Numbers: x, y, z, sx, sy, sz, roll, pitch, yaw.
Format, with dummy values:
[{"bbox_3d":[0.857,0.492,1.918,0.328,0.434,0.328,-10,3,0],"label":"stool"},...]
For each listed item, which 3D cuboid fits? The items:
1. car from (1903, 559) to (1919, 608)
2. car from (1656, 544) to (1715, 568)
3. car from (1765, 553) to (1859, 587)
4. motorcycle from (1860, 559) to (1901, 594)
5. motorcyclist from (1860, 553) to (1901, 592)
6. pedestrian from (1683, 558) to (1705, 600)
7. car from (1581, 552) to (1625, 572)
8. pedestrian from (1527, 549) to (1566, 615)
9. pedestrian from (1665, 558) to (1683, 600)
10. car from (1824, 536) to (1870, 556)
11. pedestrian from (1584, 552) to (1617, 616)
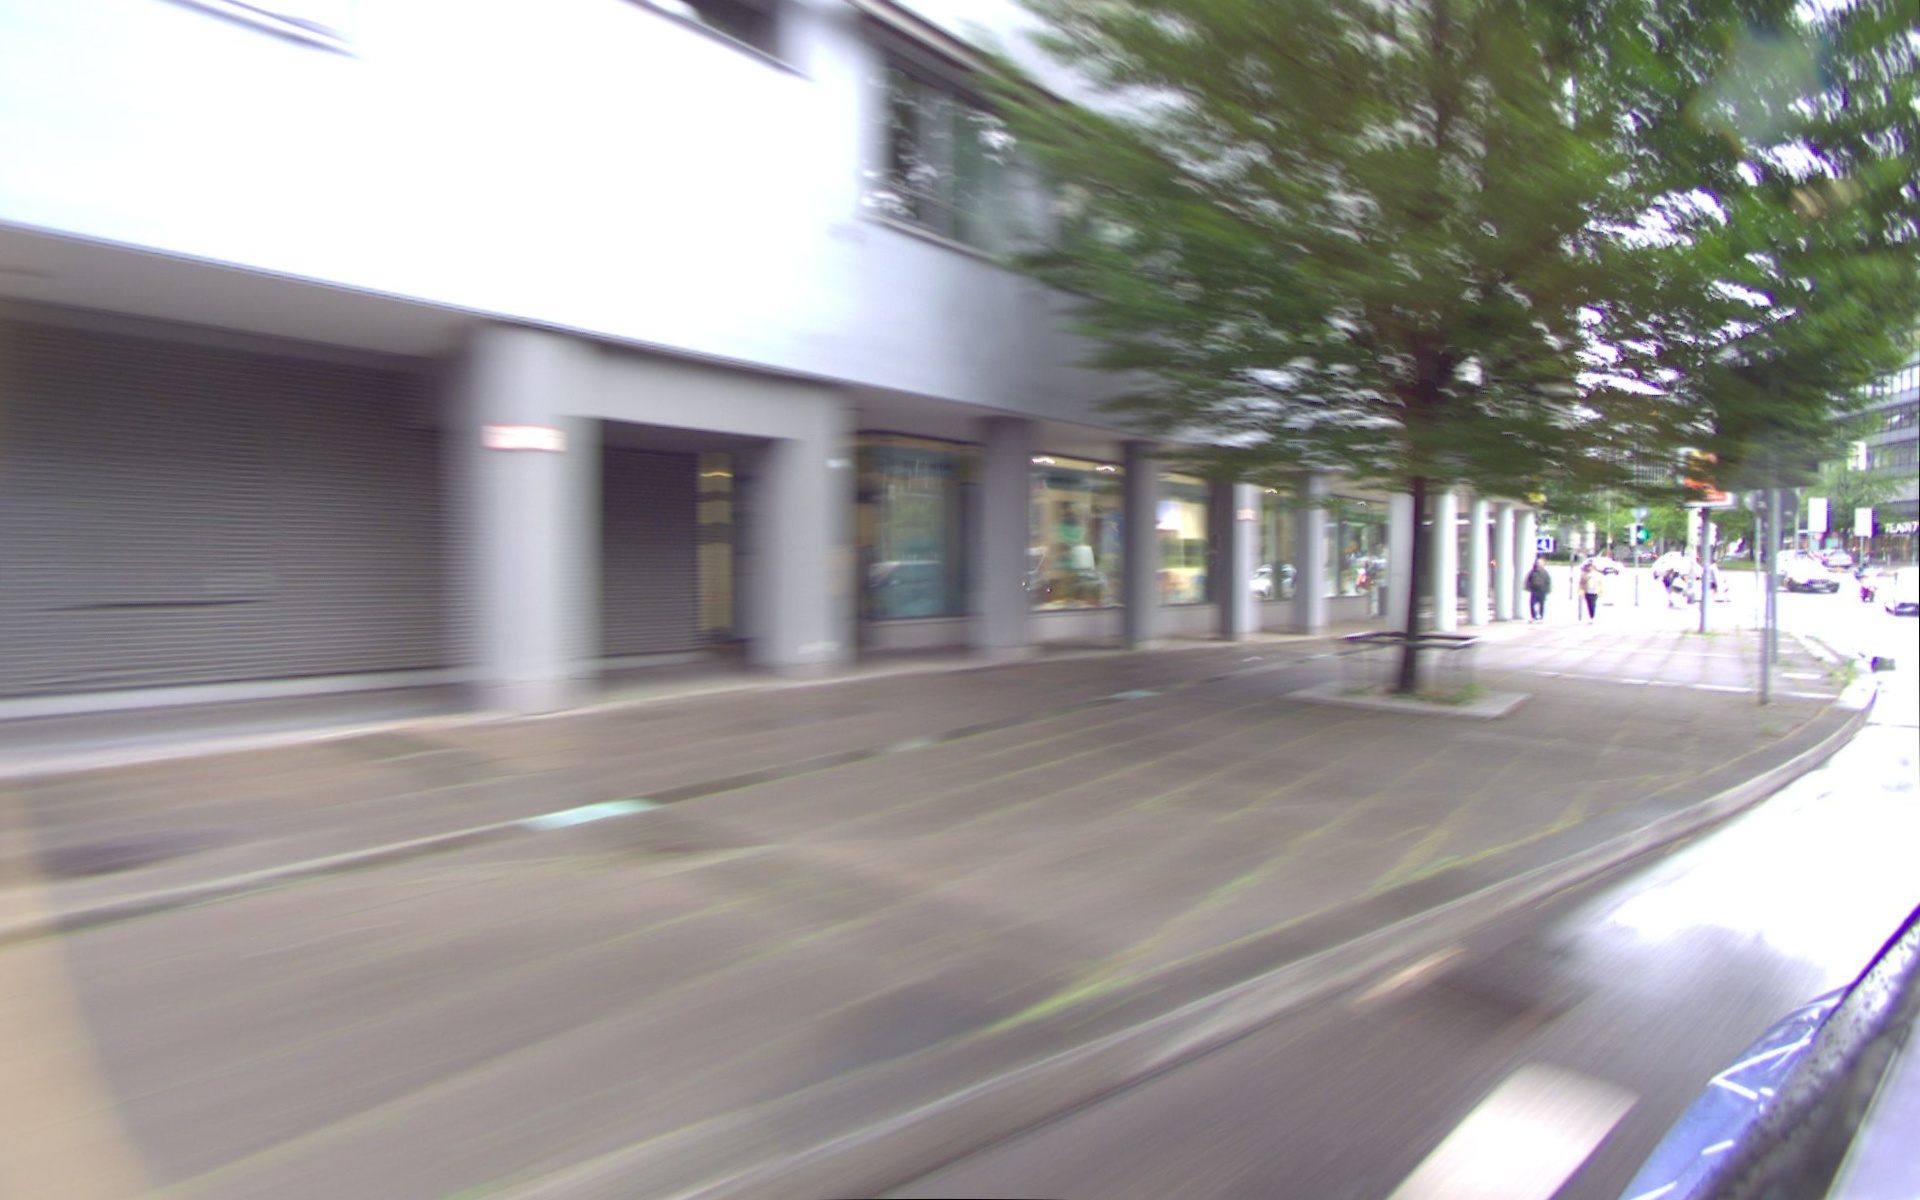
[{"bbox_3d":[32.200,-0.585,33.311,1.685,1.504,3.939,-1,2,43],"label":"car"},{"bbox_3d":[48.169,-2.901,67.271,1.866,1.504,3.983,-2,2,15],"label":"car"},{"bbox_3d":[41.204,-1.471,49.057,1.865,1.504,3.985,-2,2,14],"label":"car"},{"bbox_3d":[36.701,-0.967,40.378,1.126,1.282,3.325,-1,2,41],"label":"motorcycle"},{"bbox_3d":[36.767,-1.099,40.435,1.148,1.529,1.180,-1,2,41],"label":"motorcyclist"},{"bbox_3d":[28.715,-0.815,39.607,0.650,1.617,1.045,-1,2,38],"label":"pedestrian"},{"bbox_3d":[51.517,-3.056,81.177,1.866,1.504,3.983,-2,2,15],"label":"car"},{"bbox_3d":[16.195,-0.490,27.942,0.790,1.805,0.881,-1,0,41],"label":"pedestrian"},{"bbox_3d":[28.265,-0.820,40.039,0.524,1.617,0.721,-1,1,38],"label":"pedestrian"},{"bbox_3d":[73.339,-4.448,83.697,1.724,1.482,3.969,-1,2,24],"label":"car"},{"bbox_3d":[18.334,-0.447,28.960,0.639,1.805,0.866,-1,0,44],"label":"pedestrian"}]
